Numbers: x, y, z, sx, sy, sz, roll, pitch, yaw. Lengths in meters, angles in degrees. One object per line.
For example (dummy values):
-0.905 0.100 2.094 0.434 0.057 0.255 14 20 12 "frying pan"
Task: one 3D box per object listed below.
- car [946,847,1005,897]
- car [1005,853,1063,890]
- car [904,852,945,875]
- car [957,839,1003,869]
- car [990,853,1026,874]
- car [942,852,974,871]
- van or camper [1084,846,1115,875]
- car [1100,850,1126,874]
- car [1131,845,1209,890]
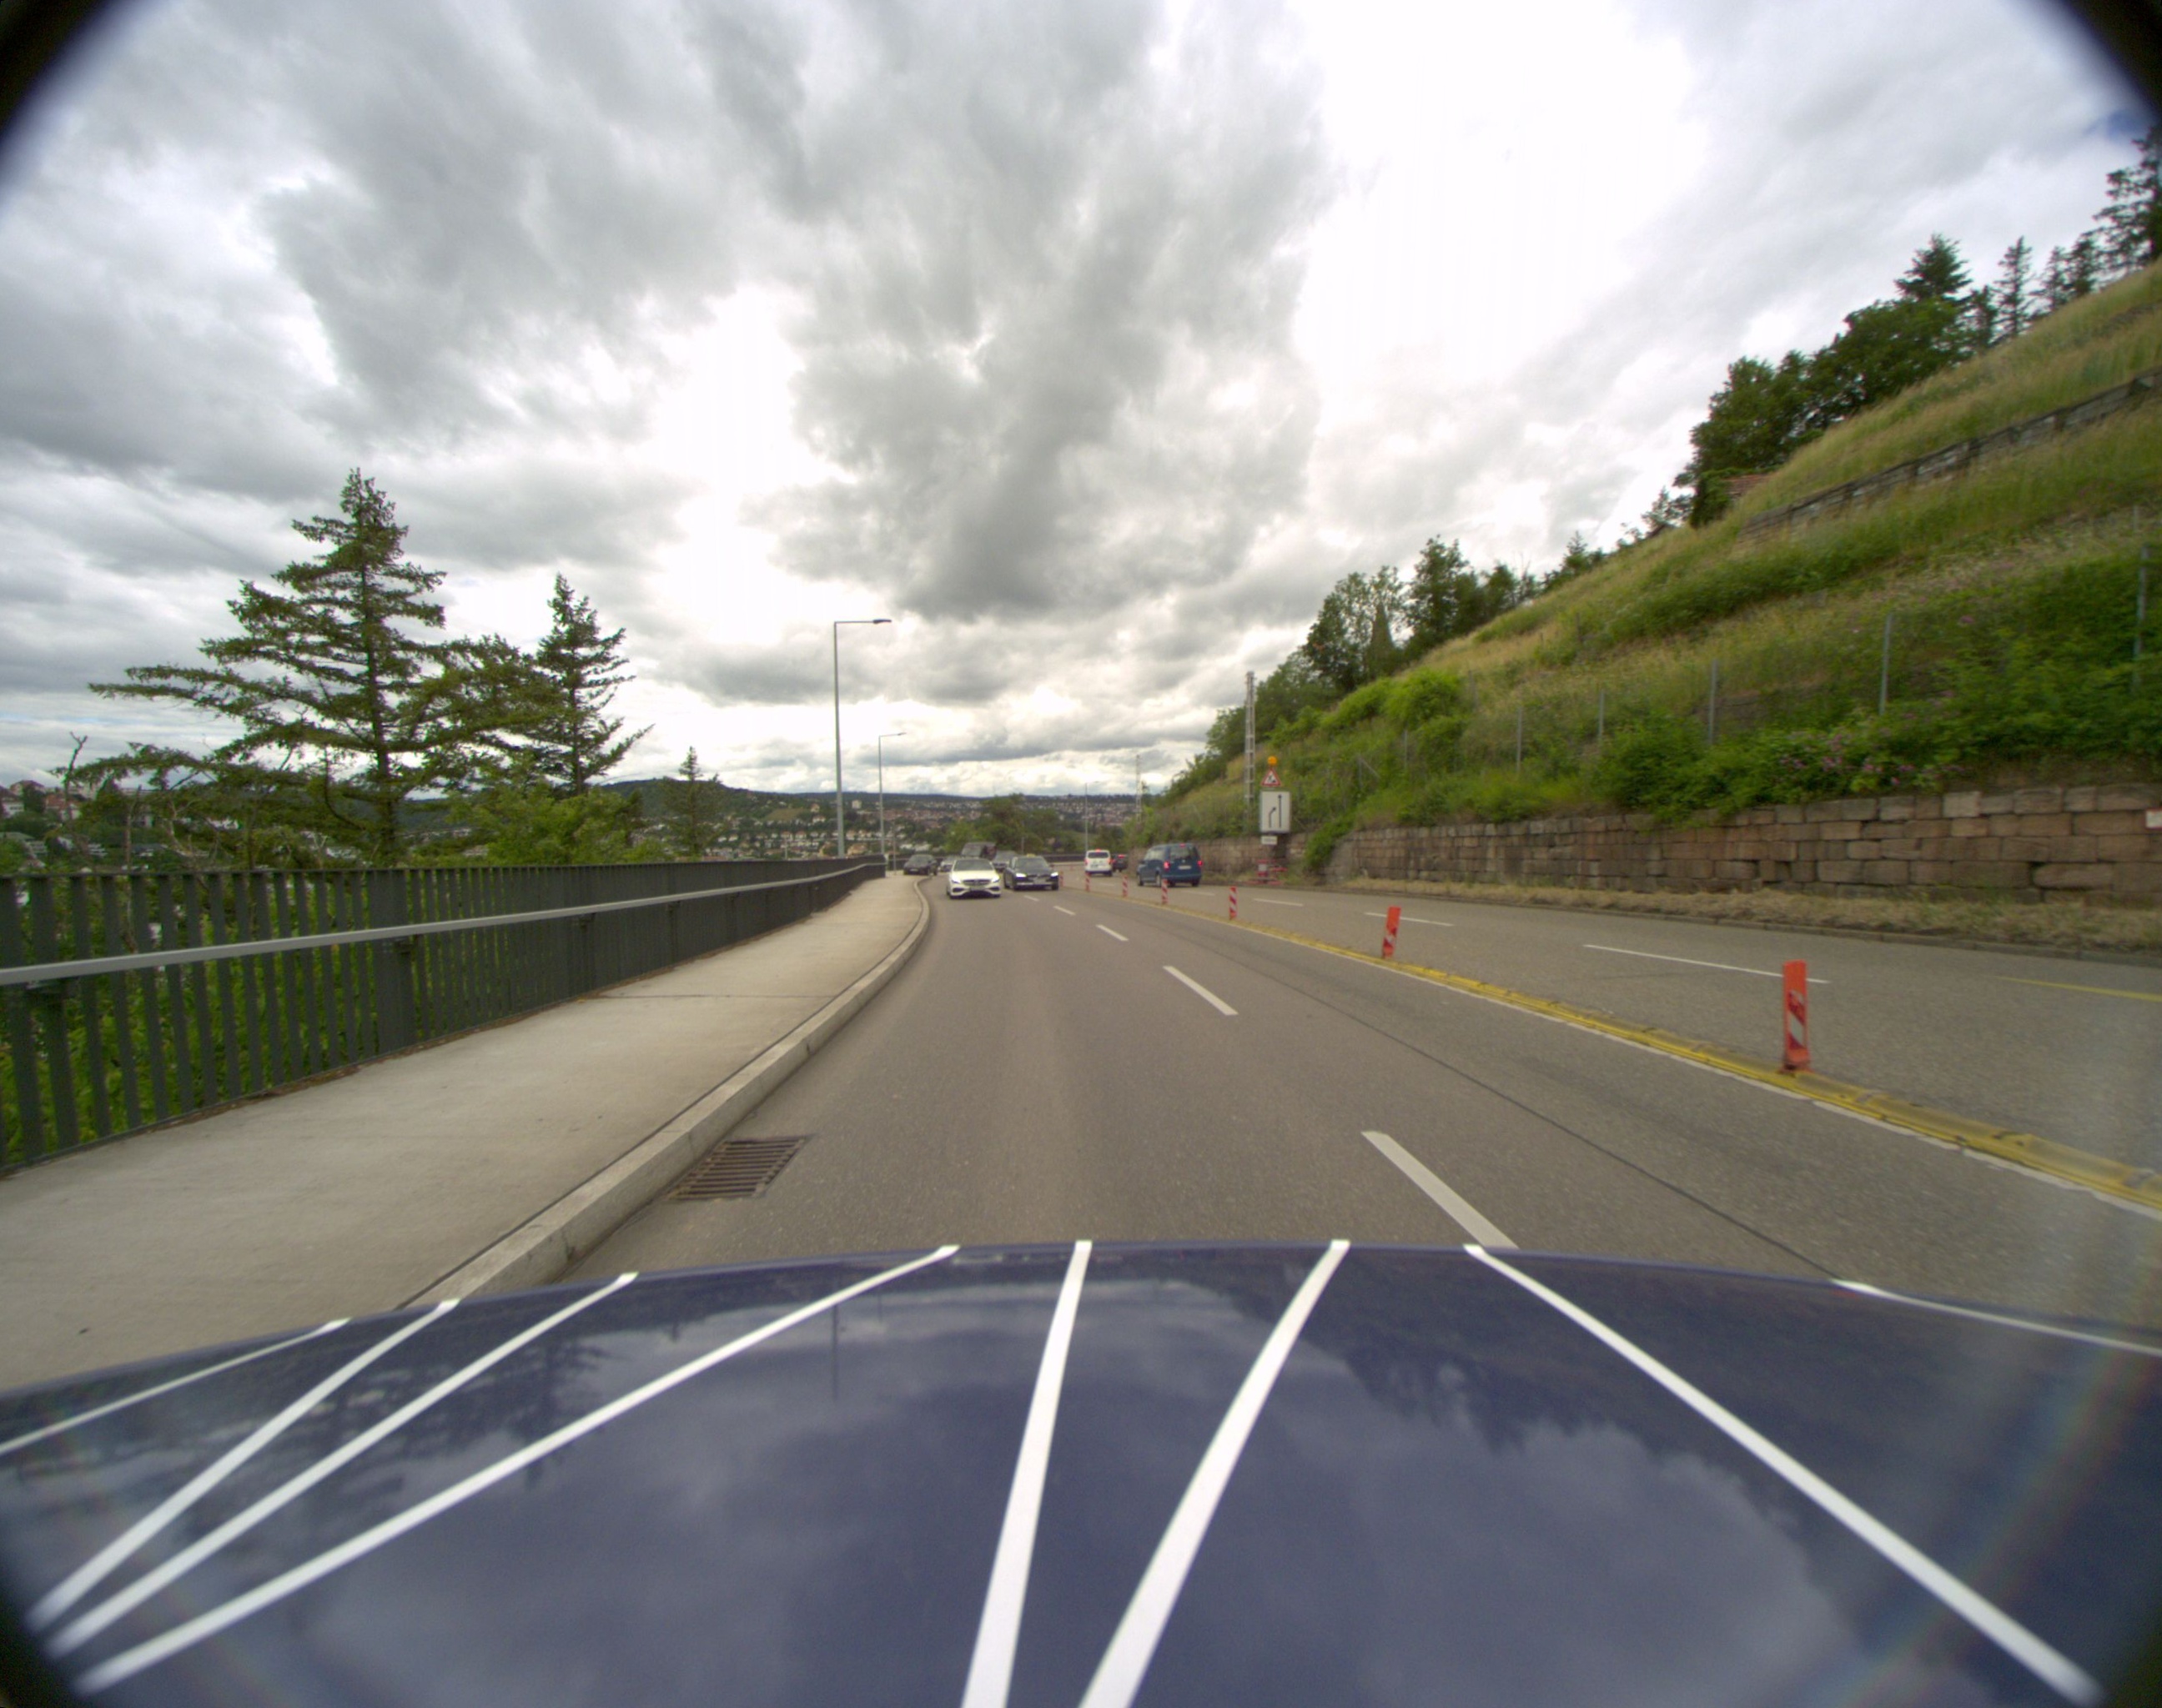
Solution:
-3.934 0.702 28.244 2.000 1.707 3.999 -1 -2 -9 "car"
-2.111 0.713 32.843 1.903 1.485 4.137 0 0 -12 "car"
-10.953 0.656 53.522 1.879 1.534 4.090 0 1 3 "car"
-9.083 -0.042 68.949 2.169 2.507 5.776 4 1 12 "car"
-6.128 0.782 64.418 1.997 1.661 4.540 -1 0 8 "car"
-10.159 0.622 62.965 1.718 1.423 3.851 1 1 5 "car"
1.452 0.437 57.918 2.152 2.005 4.963 0 1 3 "van or camper"
2.988 0.721 69.649 2.152 2.005 4.964 0 1 5 "car"
3.799 0.555 33.374 1.857 1.772 4.728 -3 0 -12 "car"
